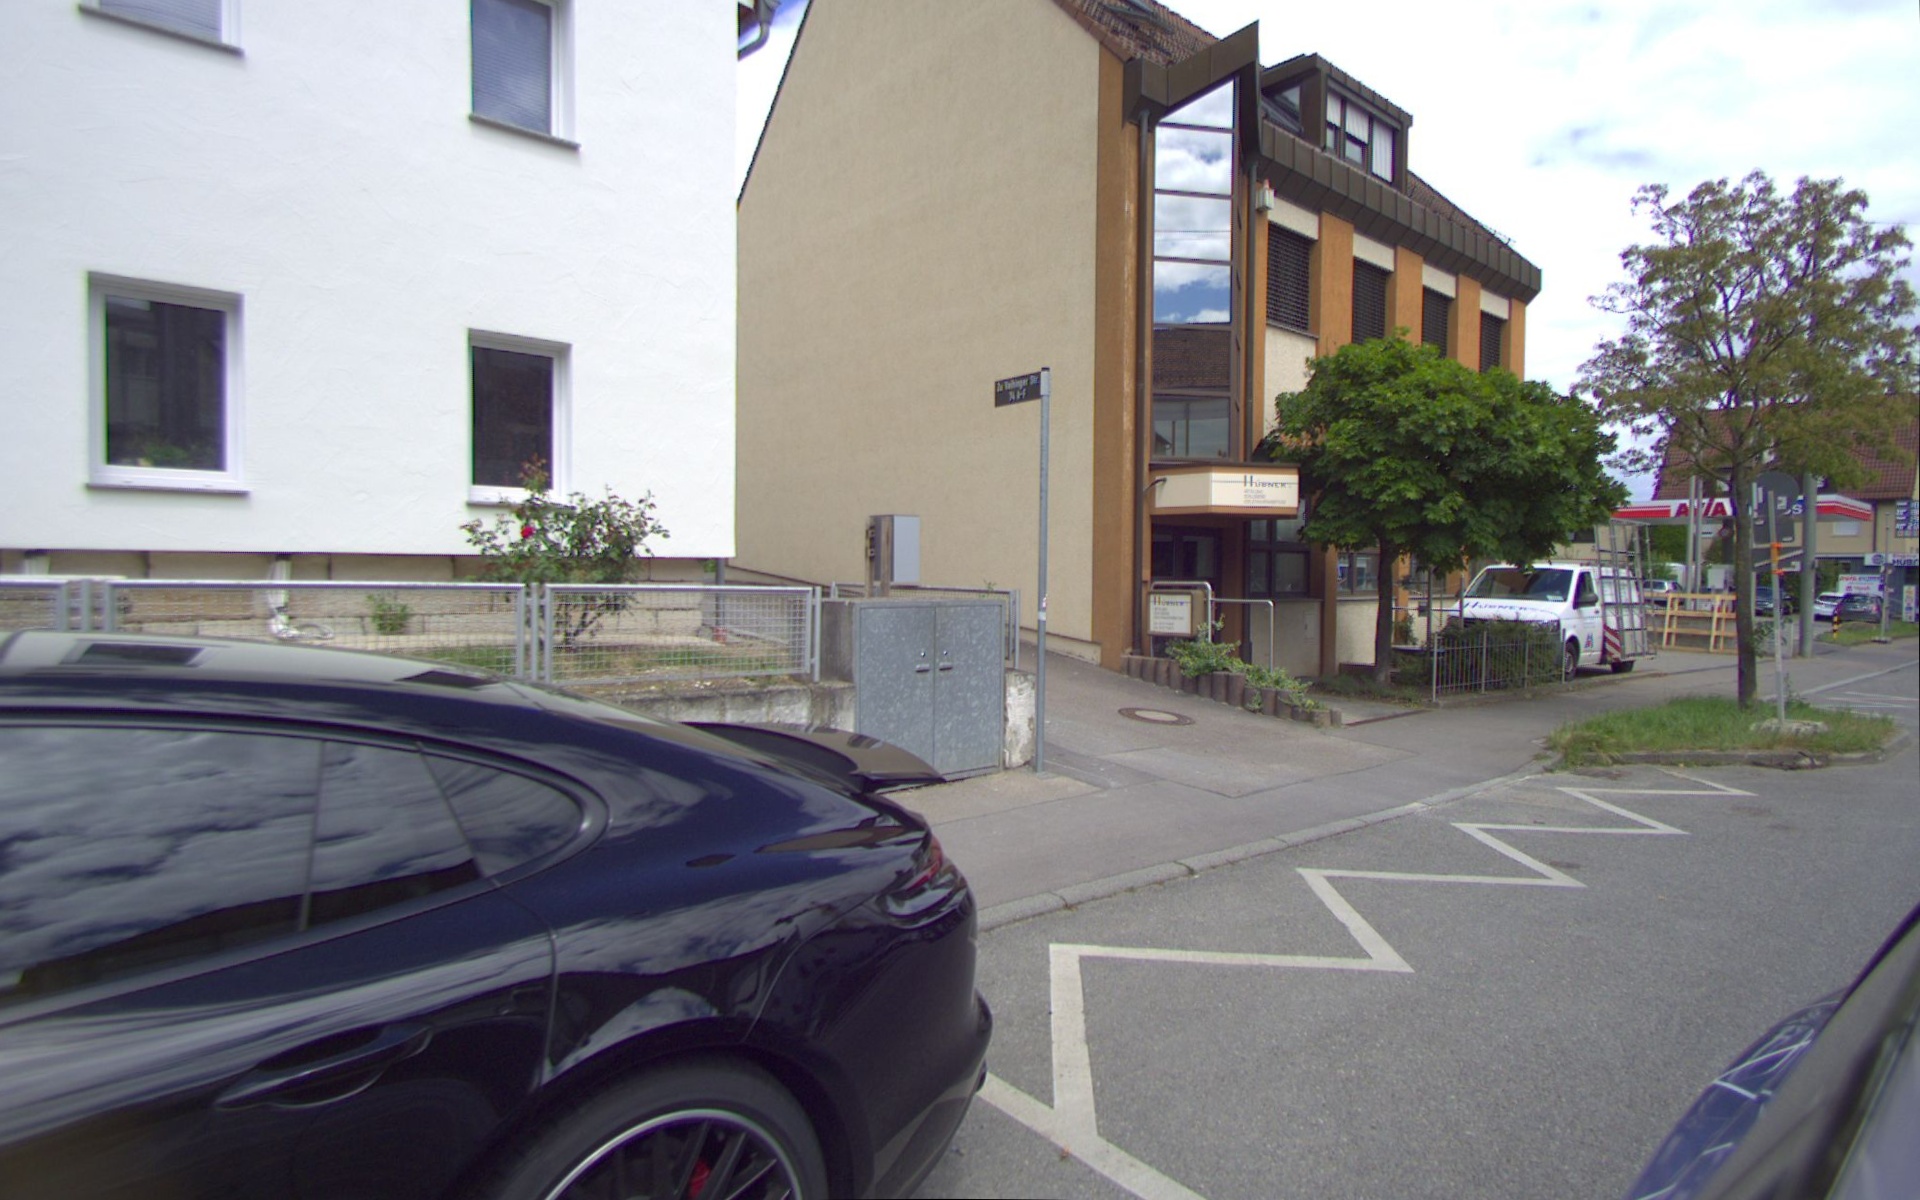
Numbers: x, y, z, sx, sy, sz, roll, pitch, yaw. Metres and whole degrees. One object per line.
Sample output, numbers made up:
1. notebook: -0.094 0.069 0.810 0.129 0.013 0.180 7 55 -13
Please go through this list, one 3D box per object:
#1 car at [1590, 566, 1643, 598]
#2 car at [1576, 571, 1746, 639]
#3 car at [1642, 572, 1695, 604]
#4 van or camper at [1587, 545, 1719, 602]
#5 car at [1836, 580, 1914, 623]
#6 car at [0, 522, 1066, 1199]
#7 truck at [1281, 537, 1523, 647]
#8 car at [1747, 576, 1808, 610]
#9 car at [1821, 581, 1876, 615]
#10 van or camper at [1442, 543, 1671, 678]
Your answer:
1. car: 38.173 -1.054 58.784 3.981 1.702 1.570 -2 6 -43
2. car: 20.456 0.077 29.793 1.603 1.650 4.327 3 3 -5
3. car: 39.982 -0.702 57.092 3.685 1.604 1.640 -2 6 -43
4. van or camper: 41.543 -1.626 60.785 2.489 2.884 5.970 0 6 -43
5. car: 39.534 0.030 43.695 4.083 1.614 1.622 0 7 -38
6. car: -2.186 0.630 1.384 4.668 1.466 1.988 -1 2 -41
7. truck: 11.043 -0.202 25.601 2.315 2.488 5.097 2 0 -40
8. car: 42.793 -0.396 52.947 4.578 1.560 1.715 -1 6 -42
9. car: 45.397 -0.135 51.699 4.134 1.546 1.637 -2 6 -44
10. van or camper: 10.401 0.115 17.532 4.464 2.057 1.872 -1 1 -37
